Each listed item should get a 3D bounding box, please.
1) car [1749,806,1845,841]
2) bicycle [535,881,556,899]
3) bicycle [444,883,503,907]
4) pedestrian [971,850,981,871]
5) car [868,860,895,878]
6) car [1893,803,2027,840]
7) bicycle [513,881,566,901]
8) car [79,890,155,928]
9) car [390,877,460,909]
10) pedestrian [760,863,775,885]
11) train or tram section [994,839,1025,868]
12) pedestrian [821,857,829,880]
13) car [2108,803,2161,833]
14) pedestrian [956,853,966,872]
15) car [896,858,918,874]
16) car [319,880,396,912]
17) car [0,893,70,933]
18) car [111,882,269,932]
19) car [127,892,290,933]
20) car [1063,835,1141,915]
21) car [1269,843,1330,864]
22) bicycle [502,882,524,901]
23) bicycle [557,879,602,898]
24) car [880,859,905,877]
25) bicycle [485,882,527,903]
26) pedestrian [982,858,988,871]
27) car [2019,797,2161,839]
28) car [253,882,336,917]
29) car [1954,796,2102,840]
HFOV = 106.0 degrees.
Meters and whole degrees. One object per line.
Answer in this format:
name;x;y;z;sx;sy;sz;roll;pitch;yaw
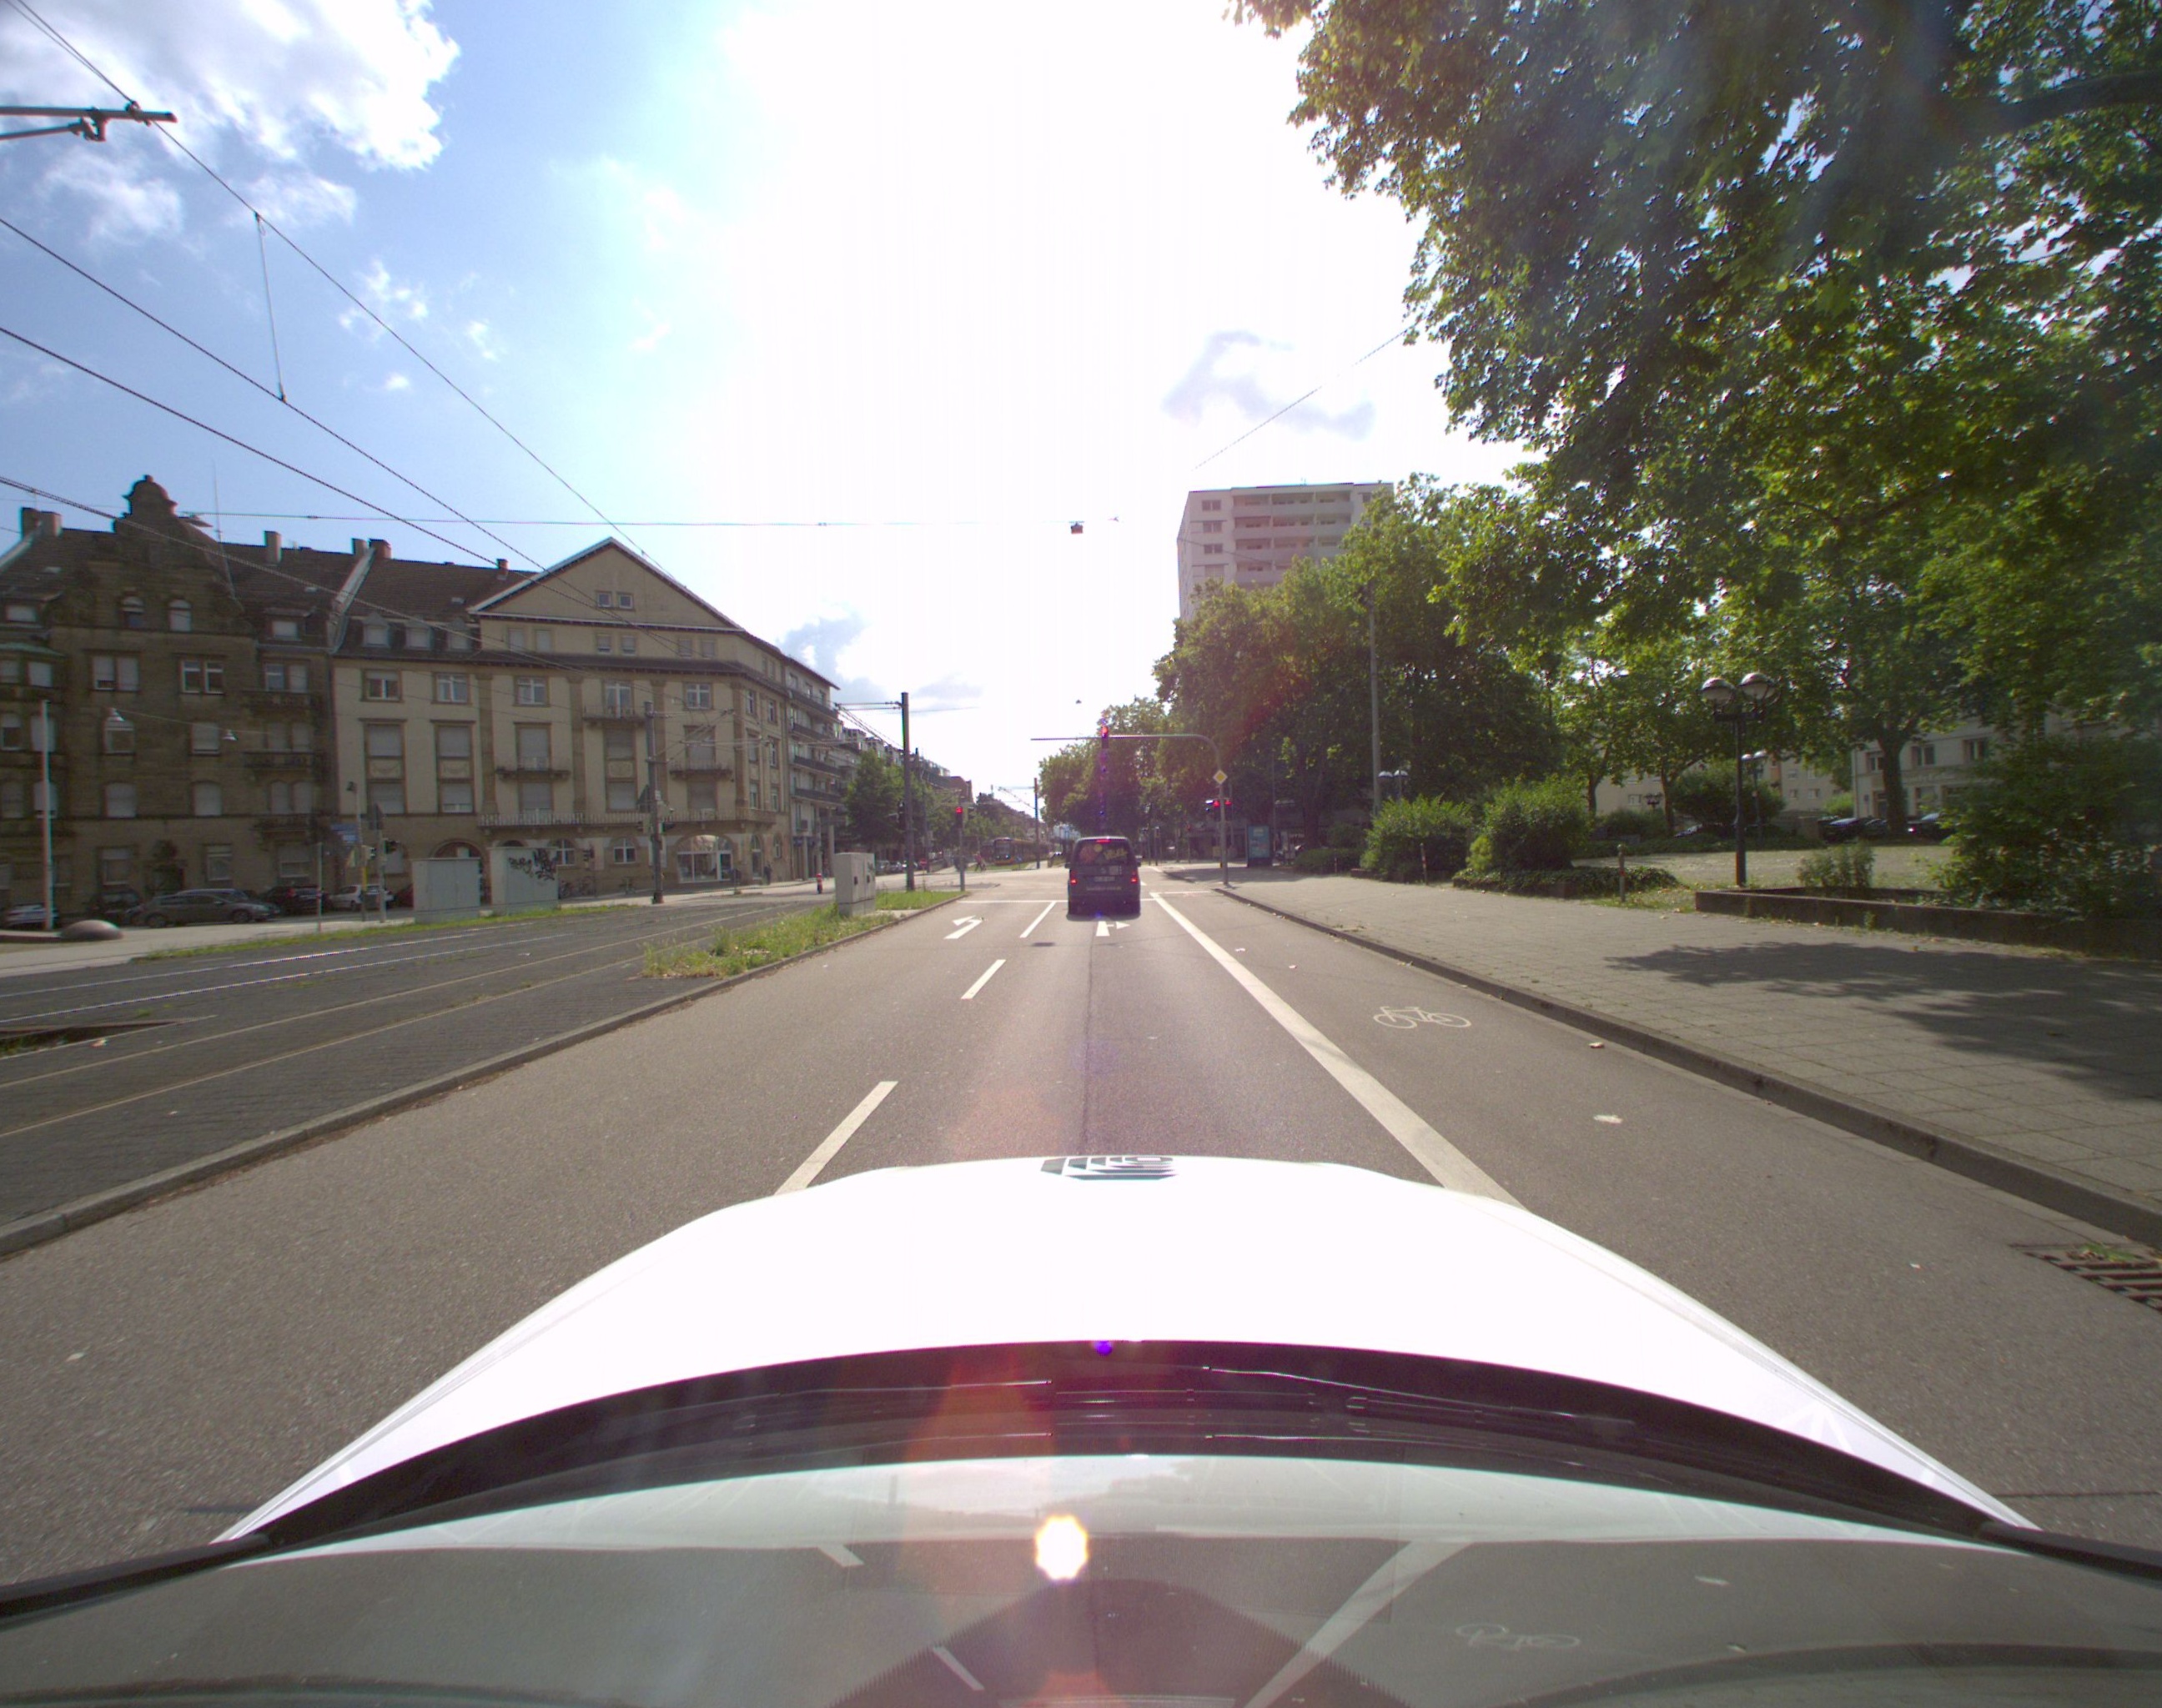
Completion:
car;47.065;-1.987;53.594;4.397;2.013;2.078;-3;0;2
bicycle;-33.501;2.247;50.948;0.808;1.053;2.543;-3;0;-28
bicycle;-36.223;2.453;48.552;3.283;1.253;1.003;-3;0;17
pedestrian;-9.094;0.603;70.728;0.657;1.784;0.661;-3;0;1
car;-23.679;1.786;96.793;1.986;2.013;4.002;-3;0;2
car;47.161;-1.709;43.771;4.661;1.706;2.193;-3;0;3
bicycle;-32.791;2.232;49.384;2.571;1.053;0.676;-3;0;-27
car;-49.984;2.823;42.228;3.948;1.759;1.900;-3;0;31
car;-38.289;2.262;47.510;3.948;1.674;2.013;-3;0;34
pedestrian;-23.353;1.502;60.629;0.690;1.595;0.861;-3;0;-3
train or tram section;-8.936;-0.138;103.293;2.232;3.331;12.977;-3;0;2
pedestrian;-22.584;1.264;71.740;0.476;2.013;0.419;-3;0;-4
car;58.819;-2.019;43.931;4.238;1.521;1.987;-3;0;1
pedestrian;-10.724;0.781;72.665;0.657;1.685;0.656;-3;0;1
car;-23.466;1.629;110.045;1.986;2.013;4.002;-3;0;2
car;-41.292;2.414;46.479;3.950;1.639;1.813;-3;0;26
car;-52.896;2.954;40.983;3.948;1.737;2.013;-3;0;31
car;-44.098;2.576;40.464;4.813;2.013;1.984;-3;0;-24
car;-38.694;2.565;36.272;4.574;1.436;1.694;-3;0;-23
car;0.543;0.463;20.482;1.744;1.808;3.476;-1;0;2
car;17.182;-0.065;63.967;4.499;1.390;1.694;-3;0;-23
bicycle;-35.019;2.288;50.206;0.744;1.053;2.543;-3;0;-28
bicycle;-31.795;2.193;51.689;0.797;1.053;2.576;-3;0;14
car;-23.515;1.761;101.535;1.986;2.013;4.002;-3;0;2
bicycle;-33.842;2.261;47.984;1.985;1.114;0.482;-3;0;-35
pedestrian;-8.392;0.919;71.076;0.462;1.144;0.435;-3;0;1
car;48.058;-1.684;38.538;4.661;1.706;2.193;-3;0;3
car;-43.529;2.520;45.079;3.950;1.673;2.012;-3;0;26
car;47.555;-1.790;40.997;4.661;1.929;2.193;-3;0;3
